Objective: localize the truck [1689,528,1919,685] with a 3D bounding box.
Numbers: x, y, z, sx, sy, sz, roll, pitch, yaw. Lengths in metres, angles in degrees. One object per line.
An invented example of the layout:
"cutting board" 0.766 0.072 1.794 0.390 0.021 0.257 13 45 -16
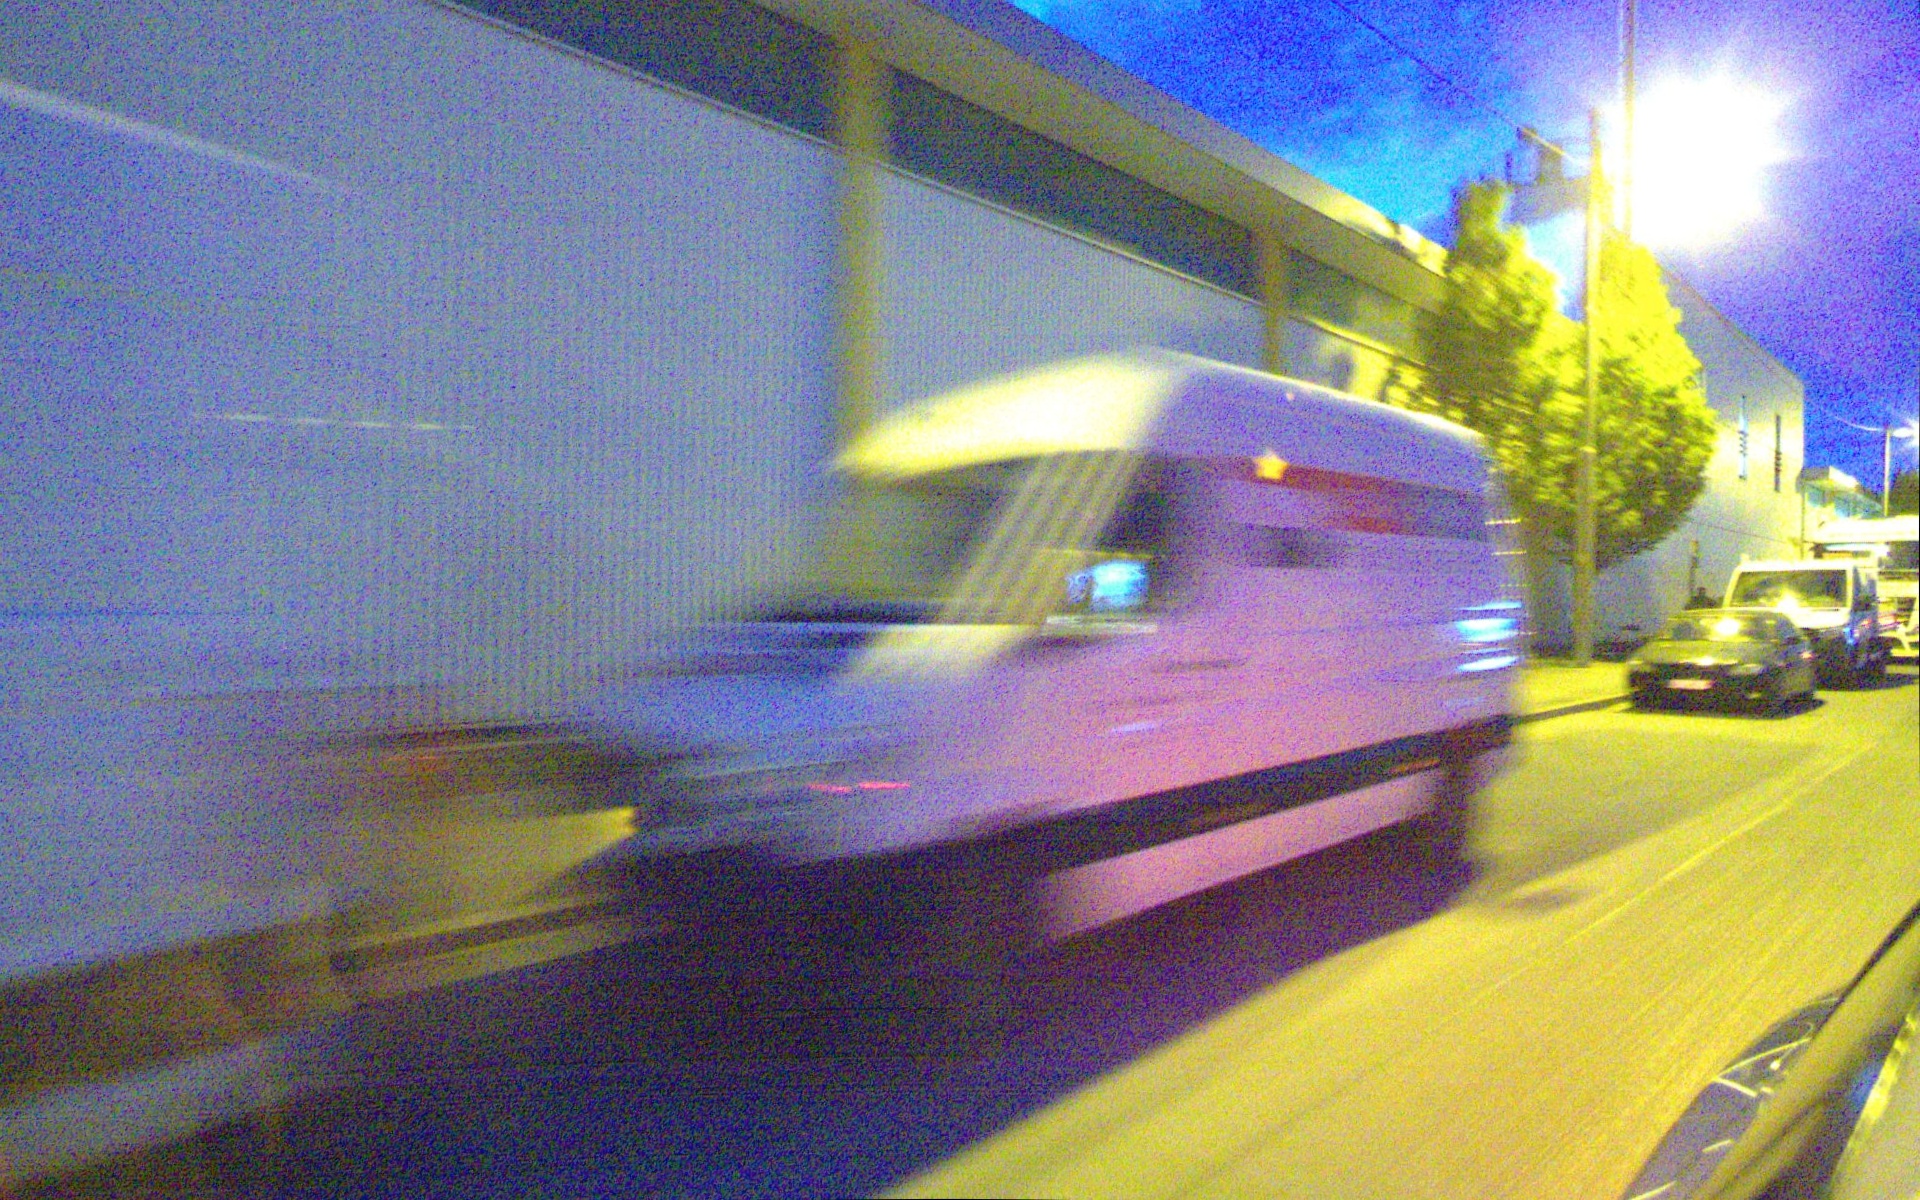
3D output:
"truck" 16.826 0.101 19.968 6.479 2.627 2.407 0 0 -40

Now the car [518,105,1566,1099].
"car" 1.040 0.023 5.374 5.910 2.604 1.996 0 -2 -42

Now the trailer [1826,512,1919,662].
"trailer" 29.488 -0.371 30.755 14.400 3.811 2.770 0 0 -41

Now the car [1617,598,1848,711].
"car" 11.670 0.724 15.153 4.823 1.426 1.832 0 -2 -42

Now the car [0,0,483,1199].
"car" -3.924 0.124 1.106 5.811 2.604 2.129 1 -2 -44

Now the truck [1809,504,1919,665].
"truck" 24.295 -0.372 26.201 5.137 3.811 2.770 0 0 -41
